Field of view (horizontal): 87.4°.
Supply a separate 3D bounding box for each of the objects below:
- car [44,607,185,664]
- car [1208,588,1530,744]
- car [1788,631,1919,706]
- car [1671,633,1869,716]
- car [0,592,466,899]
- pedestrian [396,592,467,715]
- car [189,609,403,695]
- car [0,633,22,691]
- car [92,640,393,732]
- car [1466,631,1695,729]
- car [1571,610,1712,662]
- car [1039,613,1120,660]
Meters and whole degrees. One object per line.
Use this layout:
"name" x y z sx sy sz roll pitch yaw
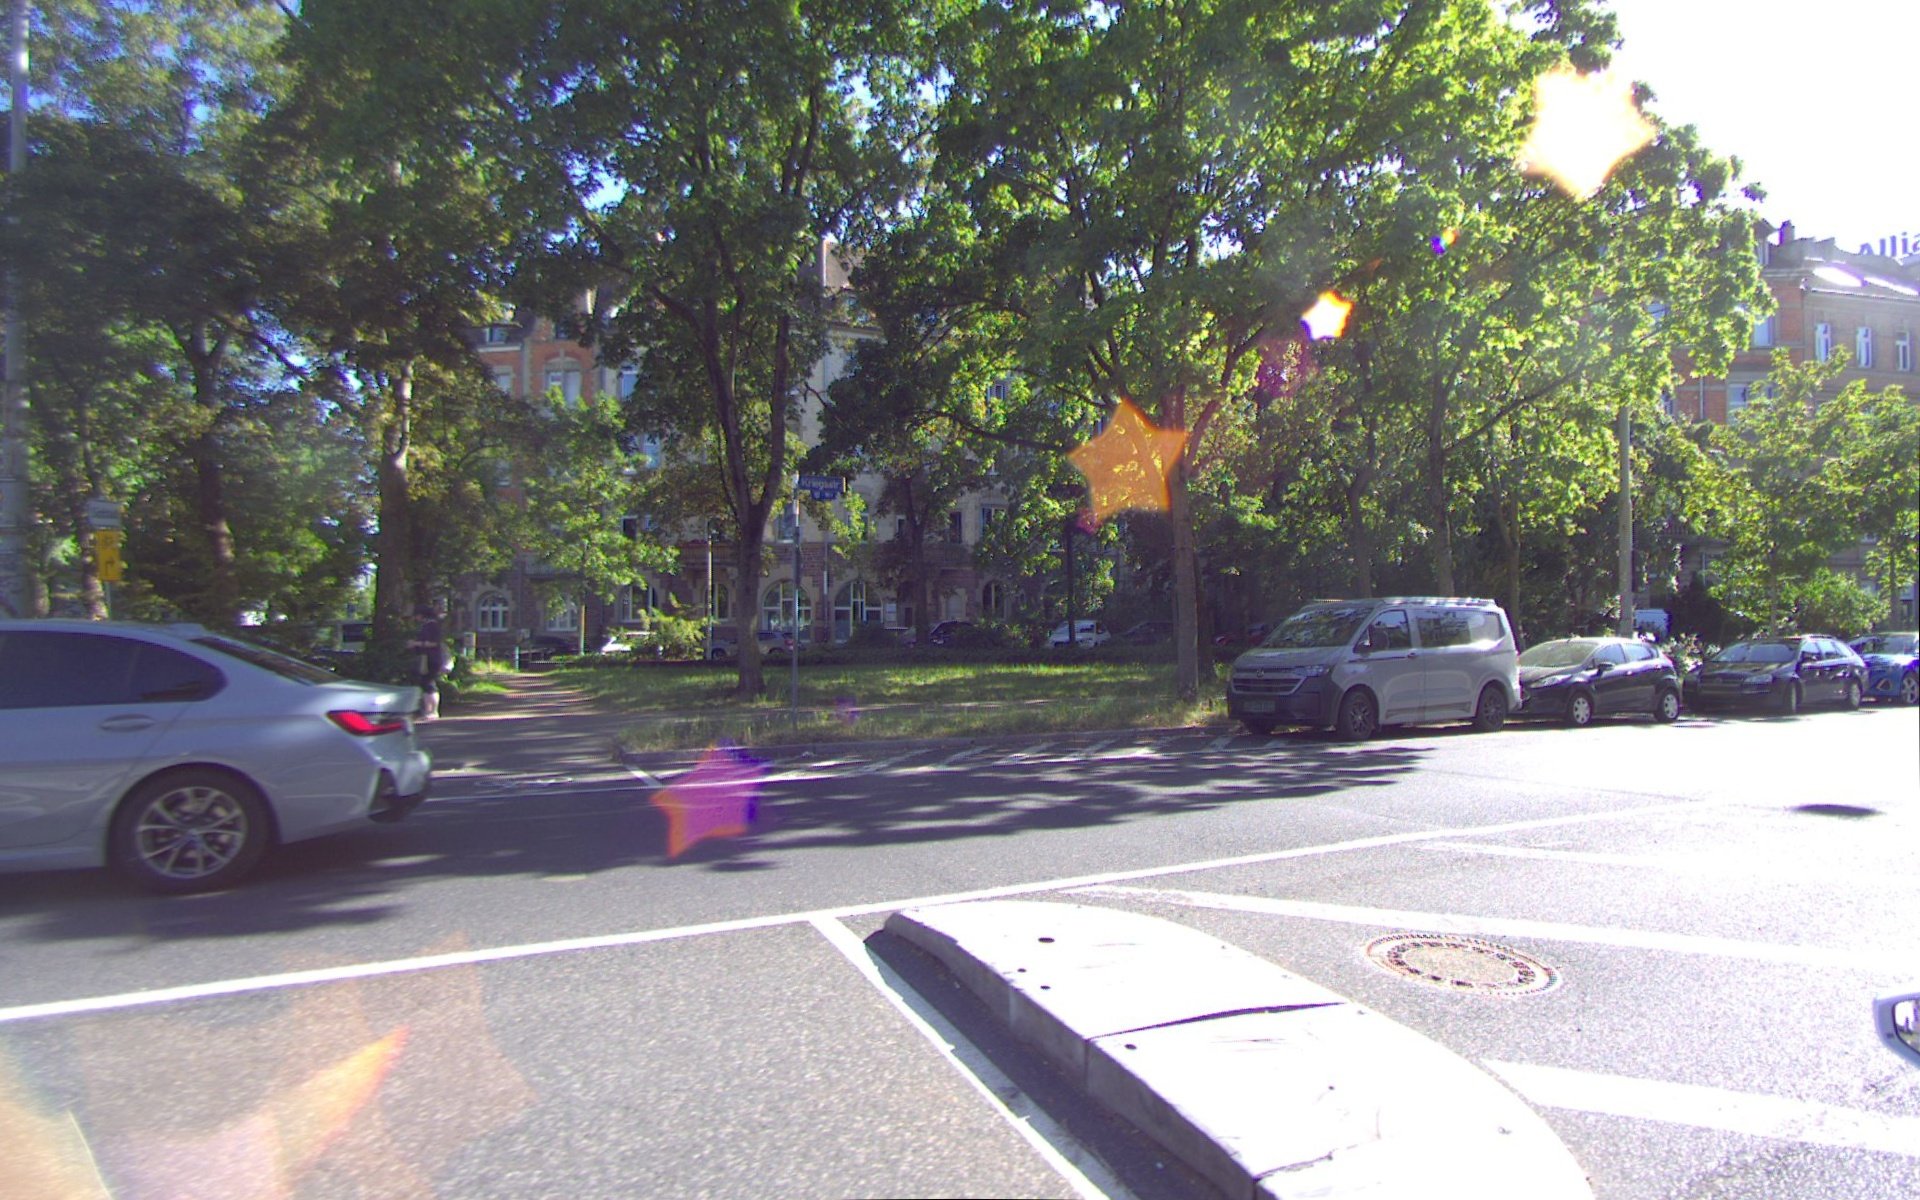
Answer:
"car" -40.852 1.748 48.715 4.854 2.657 1.882 1 -3 -27
"car" 6.285 0.972 15.323 4.818 2.062 1.975 1 -4 -30
"car" 20.946 1.508 22.549 4.495 1.558 1.776 1 -4 -24
"car" 16.167 1.452 20.008 4.221 1.501 1.584 2 -4 -29
"car" -5.425 0.744 5.644 4.647 1.514 1.800 1 -2 -24
"pedestrian" -7.944 0.785 15.094 0.812 1.778 0.863 1 -1 -36
"car" -18.780 1.460 28.721 4.852 2.275 1.883 1 -3 -26
"car" -30.589 1.834 29.032 4.627 1.710 1.887 0 -3 -20
"car" -14.554 1.713 20.703 4.622 1.710 1.889 0 -3 -16
"car" 10.647 1.332 17.213 3.906 1.521 1.460 1 -4 -26
"car" 27.079 1.456 39.988 4.365 1.938 1.866 1 -3 -1
"car" 4.166 1.320 34.474 1.565 1.446 4.180 -3 -5 23
